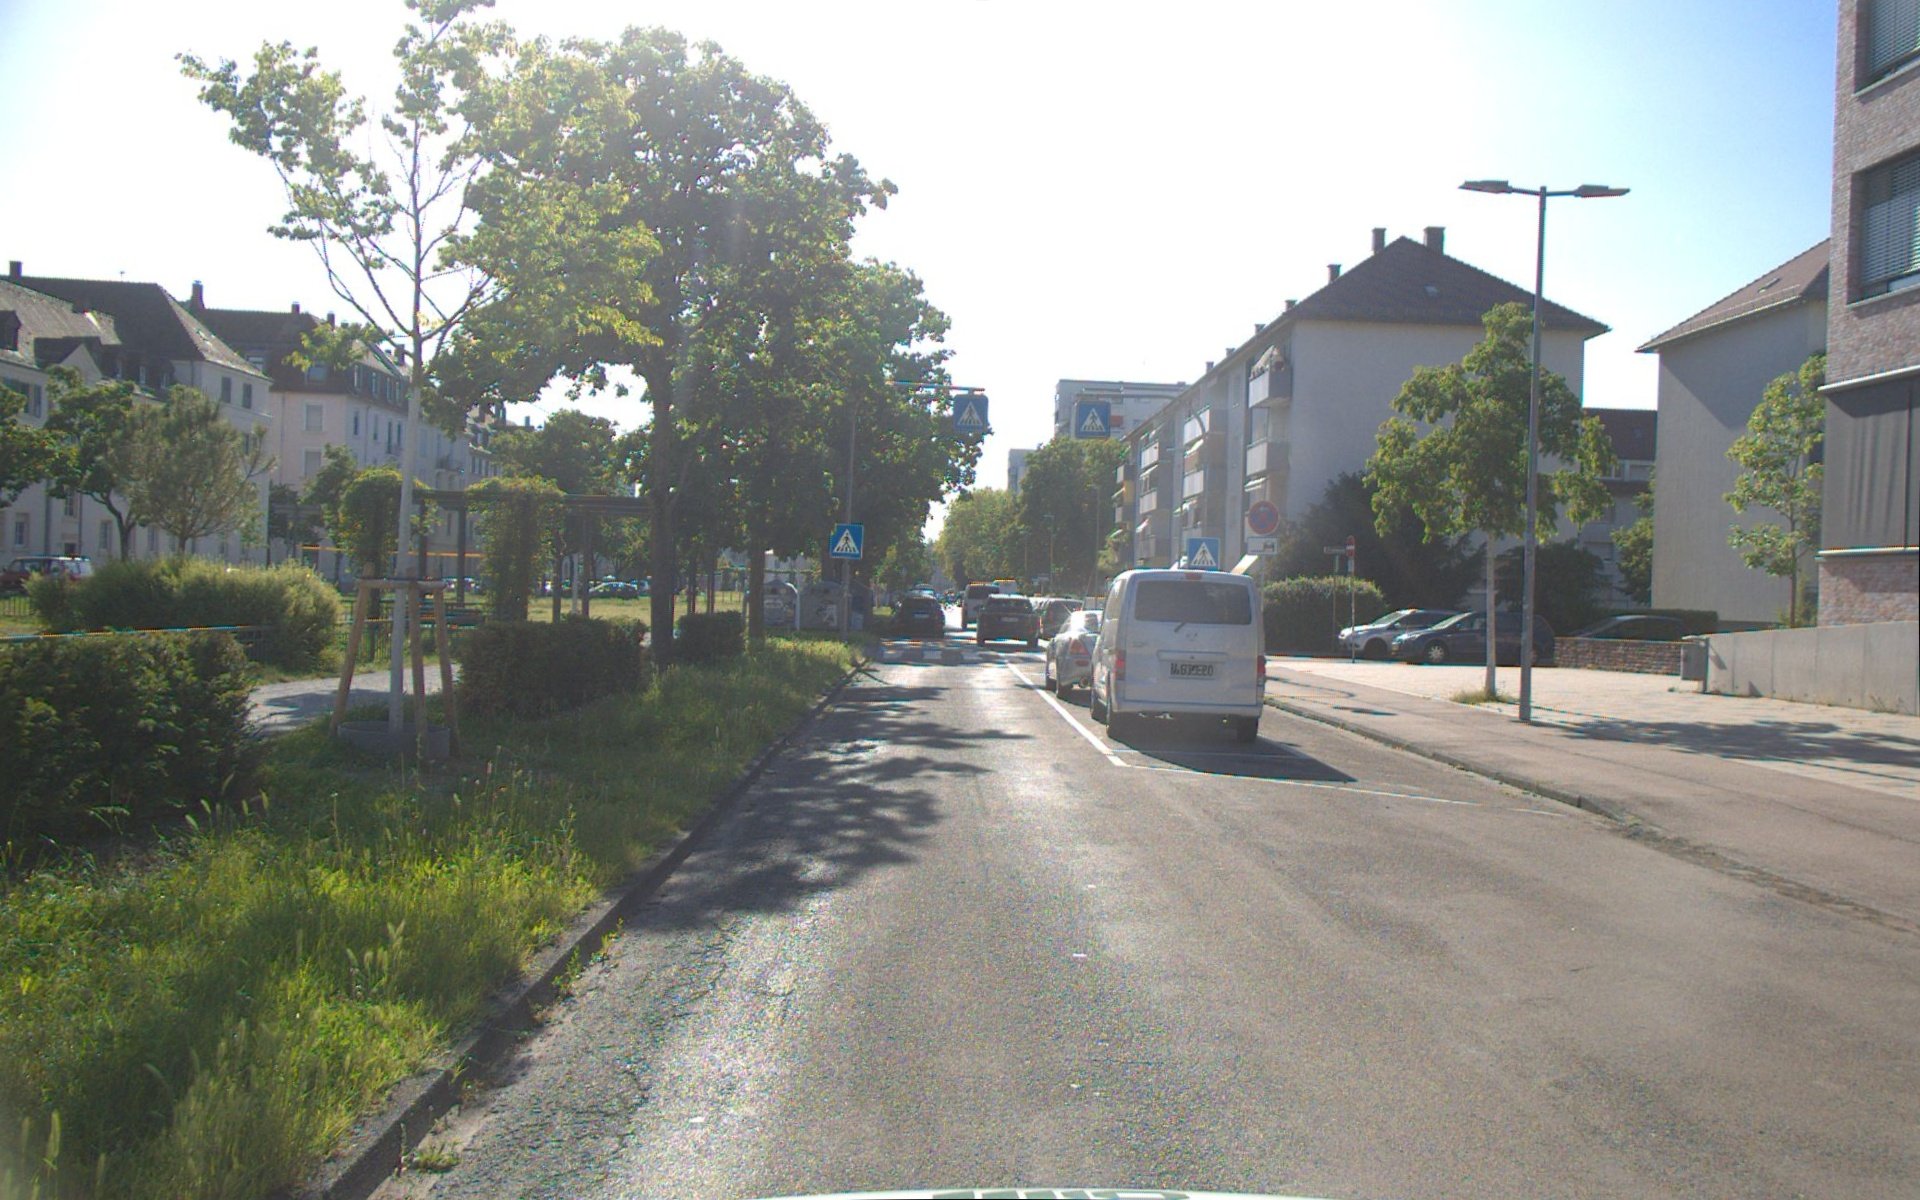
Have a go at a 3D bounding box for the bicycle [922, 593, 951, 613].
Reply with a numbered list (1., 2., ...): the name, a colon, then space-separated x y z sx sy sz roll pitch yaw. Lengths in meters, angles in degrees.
1. bicycle: -1.942 0.252 137.020 2.277 1.567 0.630 1 0 -5

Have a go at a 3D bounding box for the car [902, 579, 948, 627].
1. car: -1.552 0.125 74.154 1.953 2.049 3.999 1 0 -1

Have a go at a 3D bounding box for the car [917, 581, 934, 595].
1. car: -3.786 -1.333 182.085 1.758 1.537 3.999 1 0 -1

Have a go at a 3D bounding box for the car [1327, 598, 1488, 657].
1. car: 13.675 0.857 50.635 4.391 1.651 1.798 2 -2 -4

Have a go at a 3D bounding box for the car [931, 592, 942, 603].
1. car: -3.537 -0.385 250.022 1.758 1.537 3.999 1 0 -1

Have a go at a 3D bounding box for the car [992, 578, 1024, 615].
1. car: 3.428 -0.283 118.022 1.953 2.472 4.499 4 0 -1

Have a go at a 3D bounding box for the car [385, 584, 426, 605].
1. car: -42.985 -0.397 128.230 1.758 1.536 4.143 2 0 -1

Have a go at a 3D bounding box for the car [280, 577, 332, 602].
1. car: -42.627 -0.689 107.894 1.758 1.536 3.999 2 0 -1

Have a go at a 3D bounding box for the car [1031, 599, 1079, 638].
1. car: 4.057 0.775 71.113 1.758 1.536 3.999 2 0 -1

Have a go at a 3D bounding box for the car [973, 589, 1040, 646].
1. car: 1.332 0.477 48.407 1.758 1.536 3.999 2 0 -1

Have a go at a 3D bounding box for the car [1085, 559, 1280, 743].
1. car: 2.528 0.527 19.778 1.757 1.887 4.414 2 0 1

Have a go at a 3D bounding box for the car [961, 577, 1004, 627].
1. car: 0.979 0.078 74.112 1.758 2.159 3.999 2 0 -1

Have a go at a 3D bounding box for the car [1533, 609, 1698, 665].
1. car: 20.131 1.136 50.889 4.391 1.567 1.798 2 -2 -4

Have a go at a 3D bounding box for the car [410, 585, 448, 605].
1. car: -42.998 -0.412 133.976 1.758 1.536 3.999 2 0 -1

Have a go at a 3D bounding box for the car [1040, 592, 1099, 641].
1. car: 3.911 0.560 59.421 1.758 1.629 3.999 2 0 -1

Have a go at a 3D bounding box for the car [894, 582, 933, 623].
1. car: -2.396 0.120 86.200 1.953 2.049 3.999 1 0 -1

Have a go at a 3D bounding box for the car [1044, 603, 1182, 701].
1. car: 2.341 0.778 26.243 1.729 1.342 4.167 3 0 -1

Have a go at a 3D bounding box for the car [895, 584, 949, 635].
1. car: -1.298 0.304 57.283 1.758 1.652 3.999 2 0 -1

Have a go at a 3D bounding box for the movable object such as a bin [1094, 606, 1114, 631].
1. movable object such as a bin: 9.539 1.222 109.359 1.069 1.536 2.002 2 0 -1

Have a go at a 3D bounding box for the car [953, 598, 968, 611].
1. car: 0.070 0.598 204.970 1.758 1.537 3.999 1 0 -1

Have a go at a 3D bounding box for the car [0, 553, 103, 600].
1. car: -35.567 -0.908 64.607 1.758 1.740 4.702 2 0 -1

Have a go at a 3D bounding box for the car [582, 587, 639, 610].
1. car: -25.889 -0.125 122.703 3.909 1.536 1.798 2 0 -5
